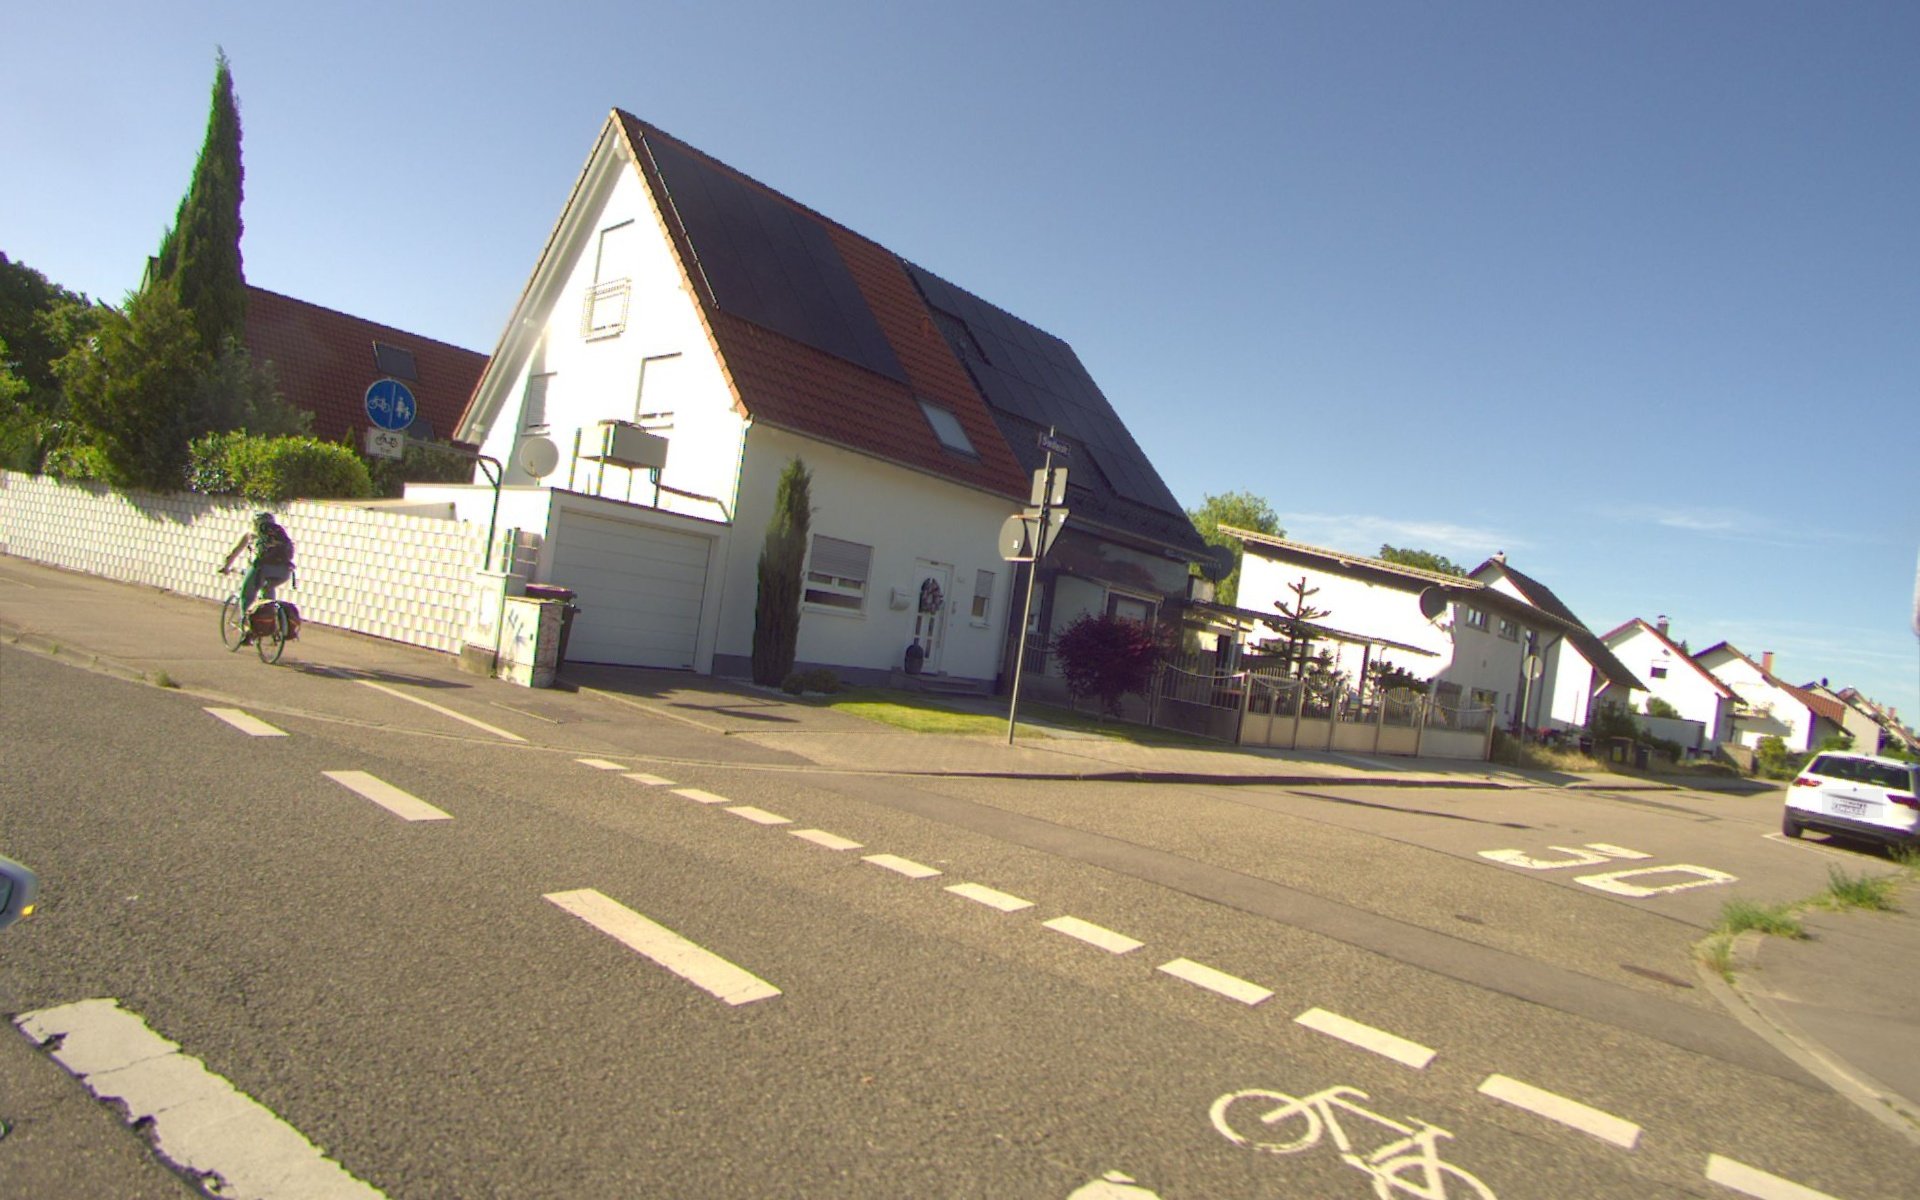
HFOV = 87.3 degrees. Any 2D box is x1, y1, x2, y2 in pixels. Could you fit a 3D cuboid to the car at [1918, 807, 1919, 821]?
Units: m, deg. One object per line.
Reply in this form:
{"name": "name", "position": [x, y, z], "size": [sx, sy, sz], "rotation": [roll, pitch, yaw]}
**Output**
{"name": "car", "position": [29.197, 5.779, 29.044], "size": [3.726, 1.594, 1.762], "rotation": [9, -1, -41]}

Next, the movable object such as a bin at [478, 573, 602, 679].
{"name": "movable object such as a bin", "position": [-5.484, 0.348, 13.142], "size": [1.047, 1.220, 1.001], "rotation": [7, 0, 38]}

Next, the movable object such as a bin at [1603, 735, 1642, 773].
{"name": "movable object such as a bin", "position": [21.922, 5.094, 33.283], "size": [0.822, 1.093, 0.924], "rotation": [6, -4, 43]}

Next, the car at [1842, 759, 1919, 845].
{"name": "car", "position": [20.551, 4.392, 21.647], "size": [3.726, 1.501, 1.762], "rotation": [9, -1, -41]}

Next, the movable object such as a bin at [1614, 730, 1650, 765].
{"name": "movable object such as a bin", "position": [23.174, 5.083, 34.682], "size": [0.822, 1.044, 0.810], "rotation": [6, -4, 43]}

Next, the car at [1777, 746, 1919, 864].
{"name": "car", "position": [15.979, 3.626, 17.616], "size": [3.903, 1.500, 1.822], "rotation": [12, -3, -41]}

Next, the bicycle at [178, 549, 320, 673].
{"name": "bicycle", "position": [-8.389, 0.110, 11.832], "size": [2.106, 1.170, 0.574], "rotation": [8, 3, 34]}

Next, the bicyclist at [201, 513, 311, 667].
{"name": "bicyclist", "position": [-8.202, -0.117, 11.724], "size": [0.966, 1.654, 0.630], "rotation": [9, 3, 33]}
